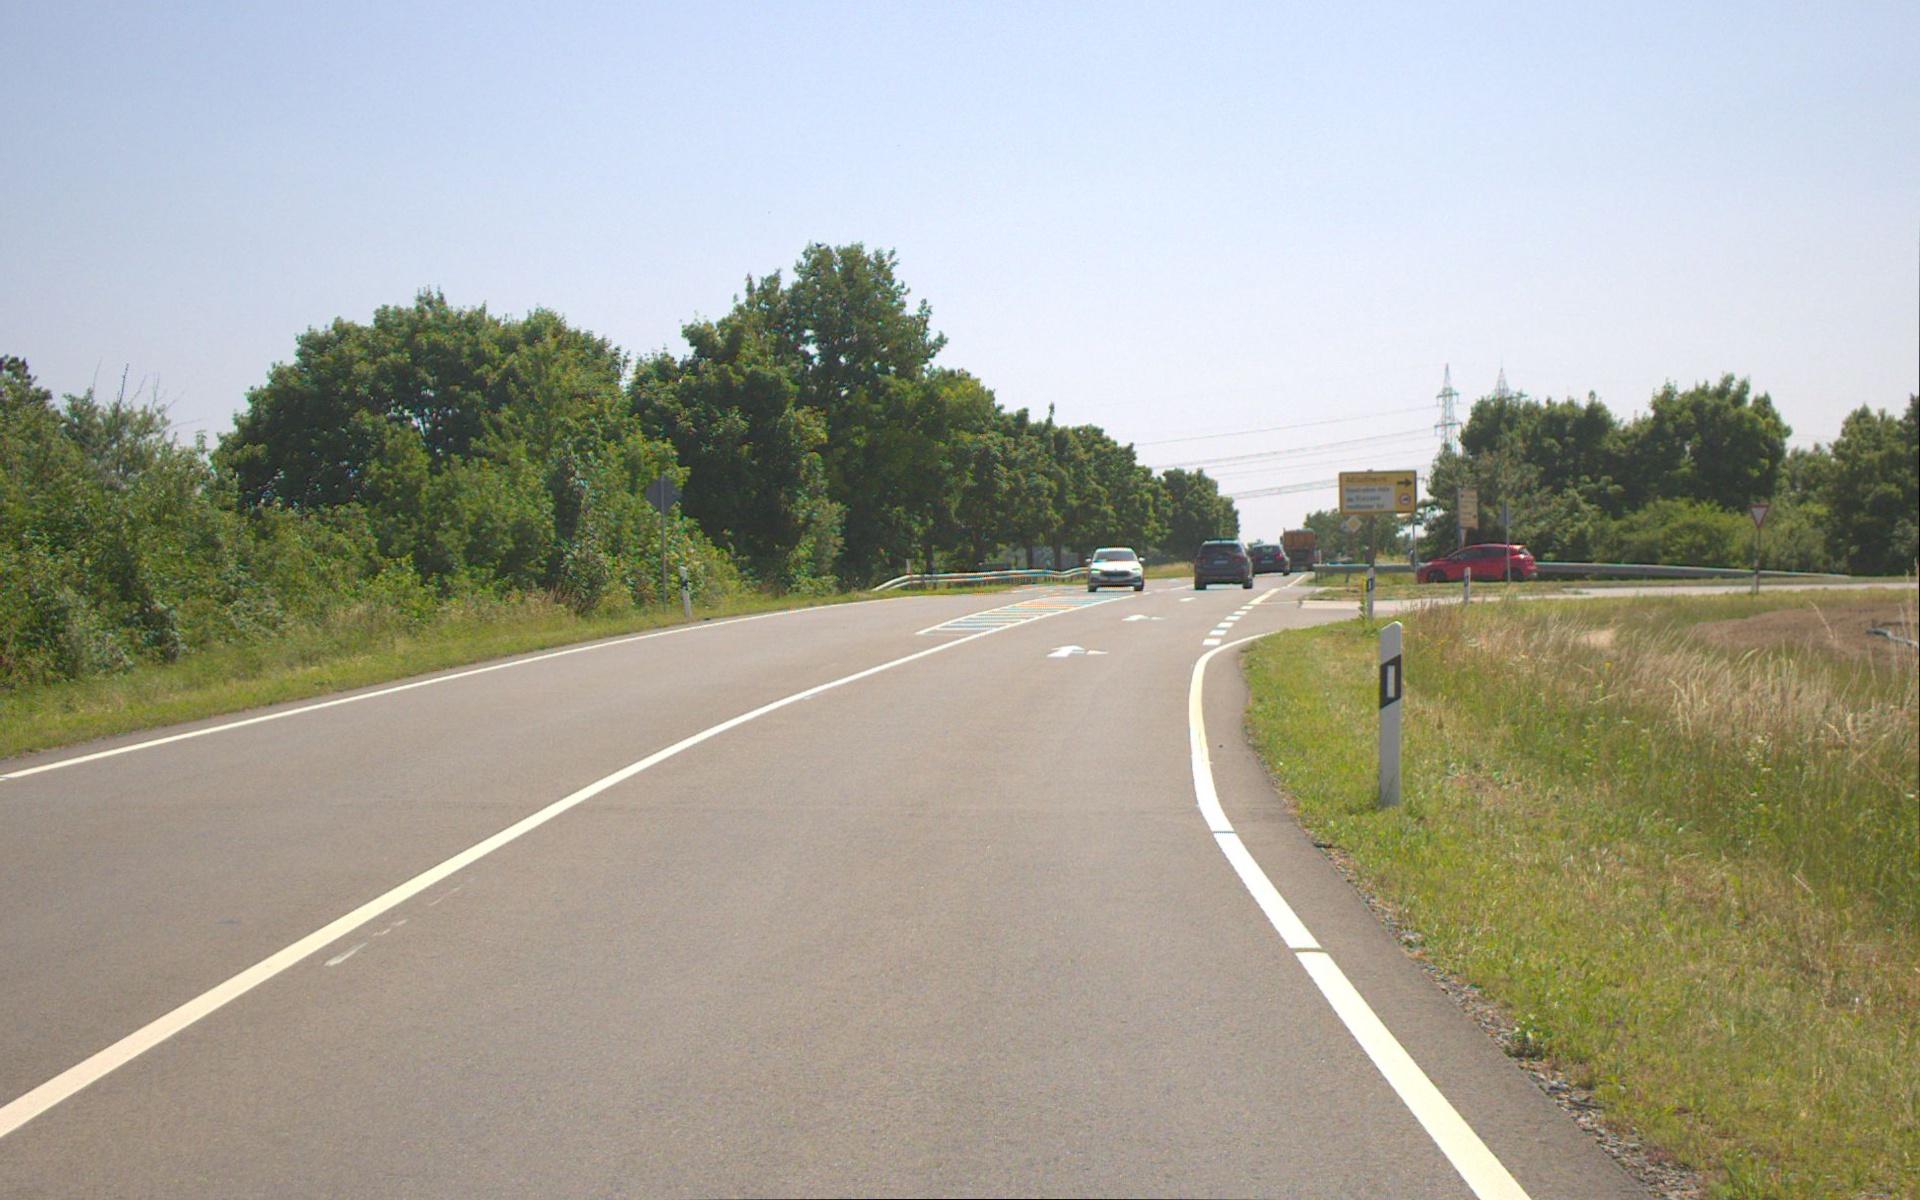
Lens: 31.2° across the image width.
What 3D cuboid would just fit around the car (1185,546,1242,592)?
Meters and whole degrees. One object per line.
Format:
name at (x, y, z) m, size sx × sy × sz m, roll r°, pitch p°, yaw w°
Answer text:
car at (8.735, -1.072, 118.366) m, size 1.885 × 1.513 × 4.039 m, roll 1°, pitch 1°, yaw 5°

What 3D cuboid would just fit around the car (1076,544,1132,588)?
car at (4.878, -1.151, 115.867) m, size 1.835 × 1.414 × 4.715 m, roll 1°, pitch 1°, yaw 3°

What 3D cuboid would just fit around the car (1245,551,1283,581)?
car at (13.635, -1.524, 154.361) m, size 1.644 × 1.336 × 4.039 m, roll 1°, pitch 1°, yaw 5°

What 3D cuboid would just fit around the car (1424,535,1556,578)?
car at (17.892, -1.447, 116.063) m, size 4.157 × 1.414 × 1.778 m, roll 0°, pitch 0°, yaw 20°
